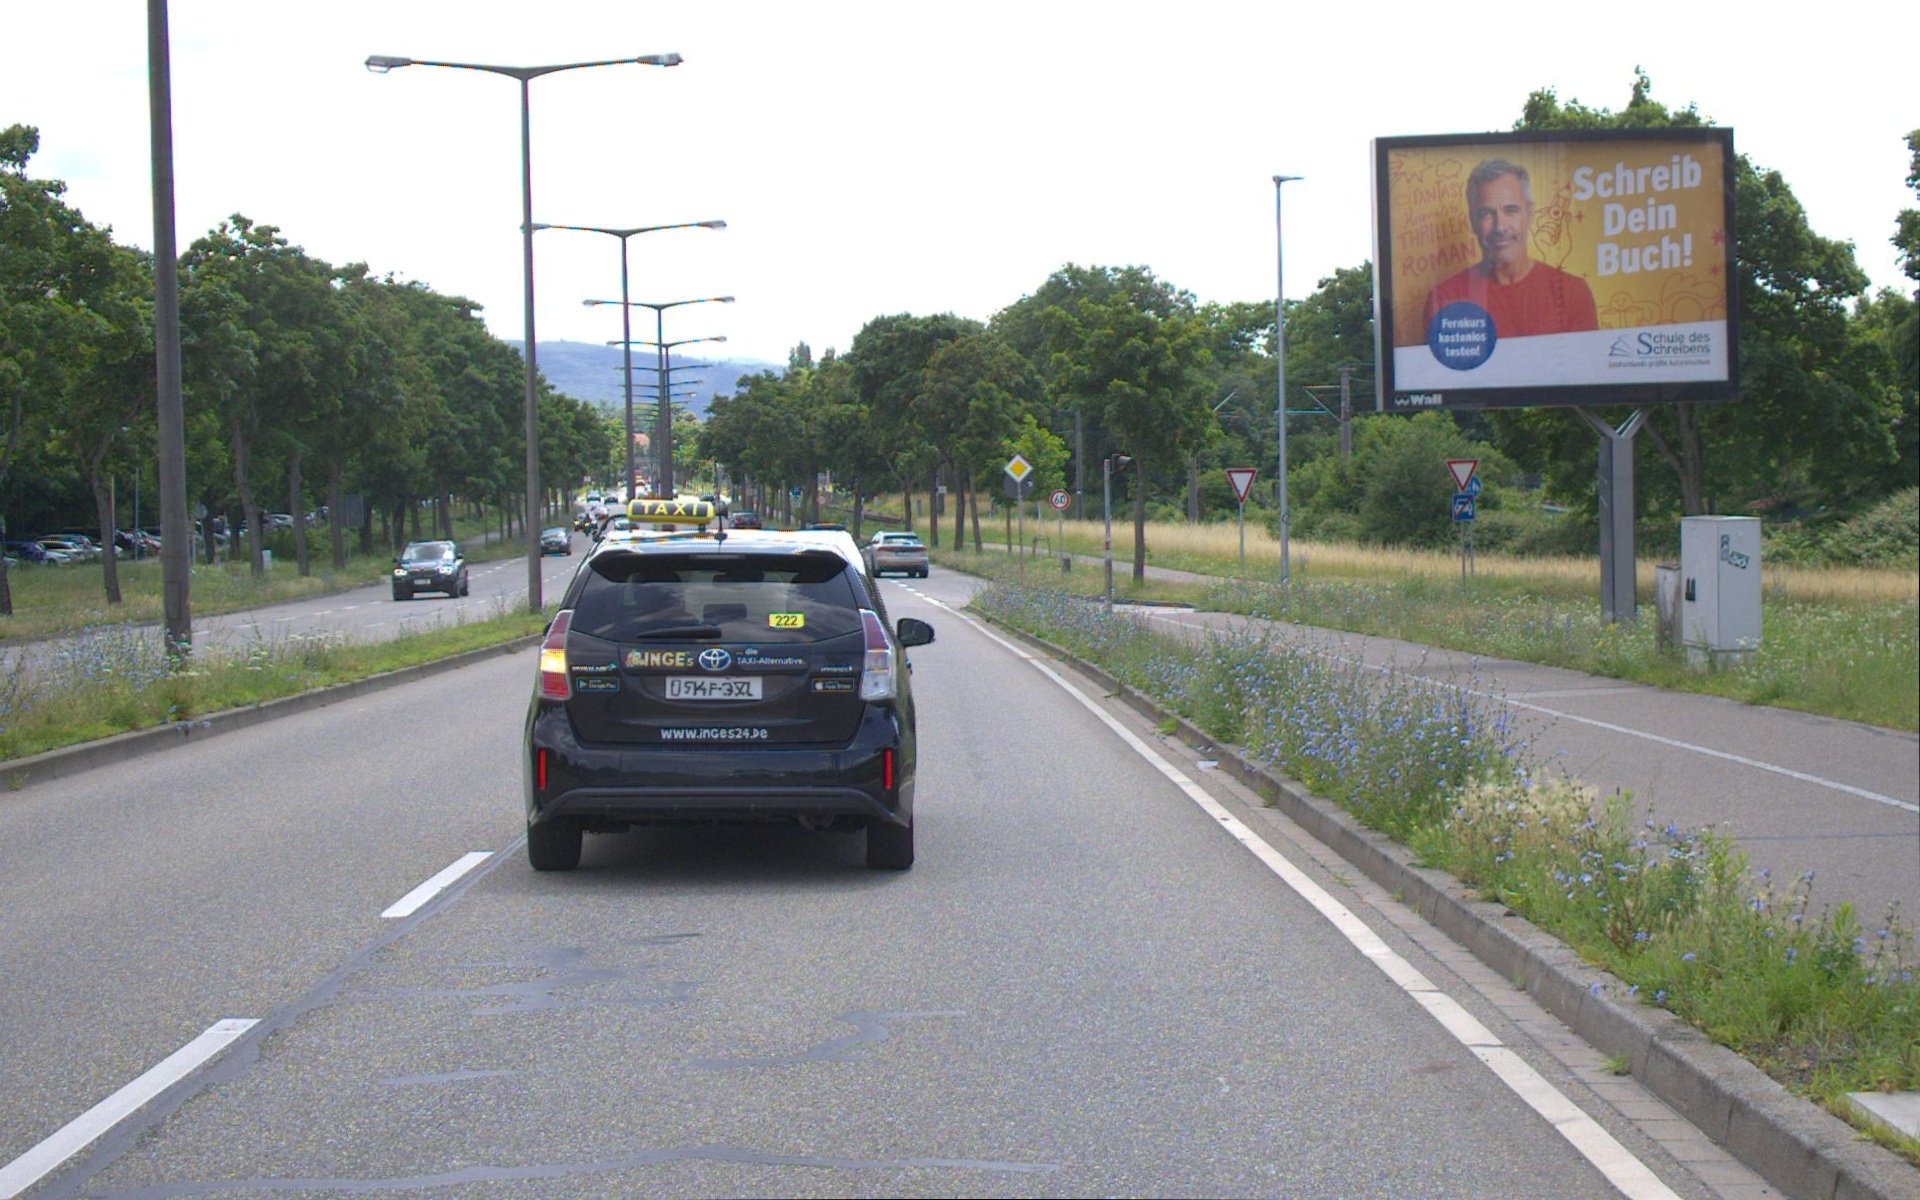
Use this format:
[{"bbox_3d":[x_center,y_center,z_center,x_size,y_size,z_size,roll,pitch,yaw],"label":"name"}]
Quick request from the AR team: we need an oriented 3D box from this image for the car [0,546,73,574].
[{"bbox_3d":[-48.316,-2.093,179.124,3.785,1.383,1.786,0,2,0],"label":"car"}]

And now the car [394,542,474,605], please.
[{"bbox_3d":[-15.999,-0.830,104.817,1.876,1.784,4.729,-3,1,-3],"label":"car"}]

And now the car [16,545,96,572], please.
[{"bbox_3d":[-48.113,-2.213,183.084,3.785,1.383,1.786,0,2,0],"label":"car"}]

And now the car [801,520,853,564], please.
[{"bbox_3d":[-5.307,-2.335,136.580,1.993,1.656,4.001,0,2,-3],"label":"car"}]

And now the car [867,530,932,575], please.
[{"bbox_3d":[-2.199,-1.717,123.772,1.993,1.503,4.001,0,2,-6],"label":"car"}]

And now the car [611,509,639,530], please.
[{"bbox_3d":[-23.982,-5.801,246.279,1.810,1.393,4.735,-1,2,-4],"label":"car"}]

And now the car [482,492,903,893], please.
[{"bbox_3d":[-1.270,0.336,16.625,1.779,1.678,4.001,0,2,-4],"label":"car"}]

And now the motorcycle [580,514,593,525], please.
[{"bbox_3d":[-26.236,-5.641,241.397,0.751,0.769,2.672,0,2,-4],"label":"motorcycle"}]

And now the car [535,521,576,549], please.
[{"bbox_3d":[-20.839,-3.343,177.104,1.700,1.422,3.676,-1,1,-13],"label":"car"}]
